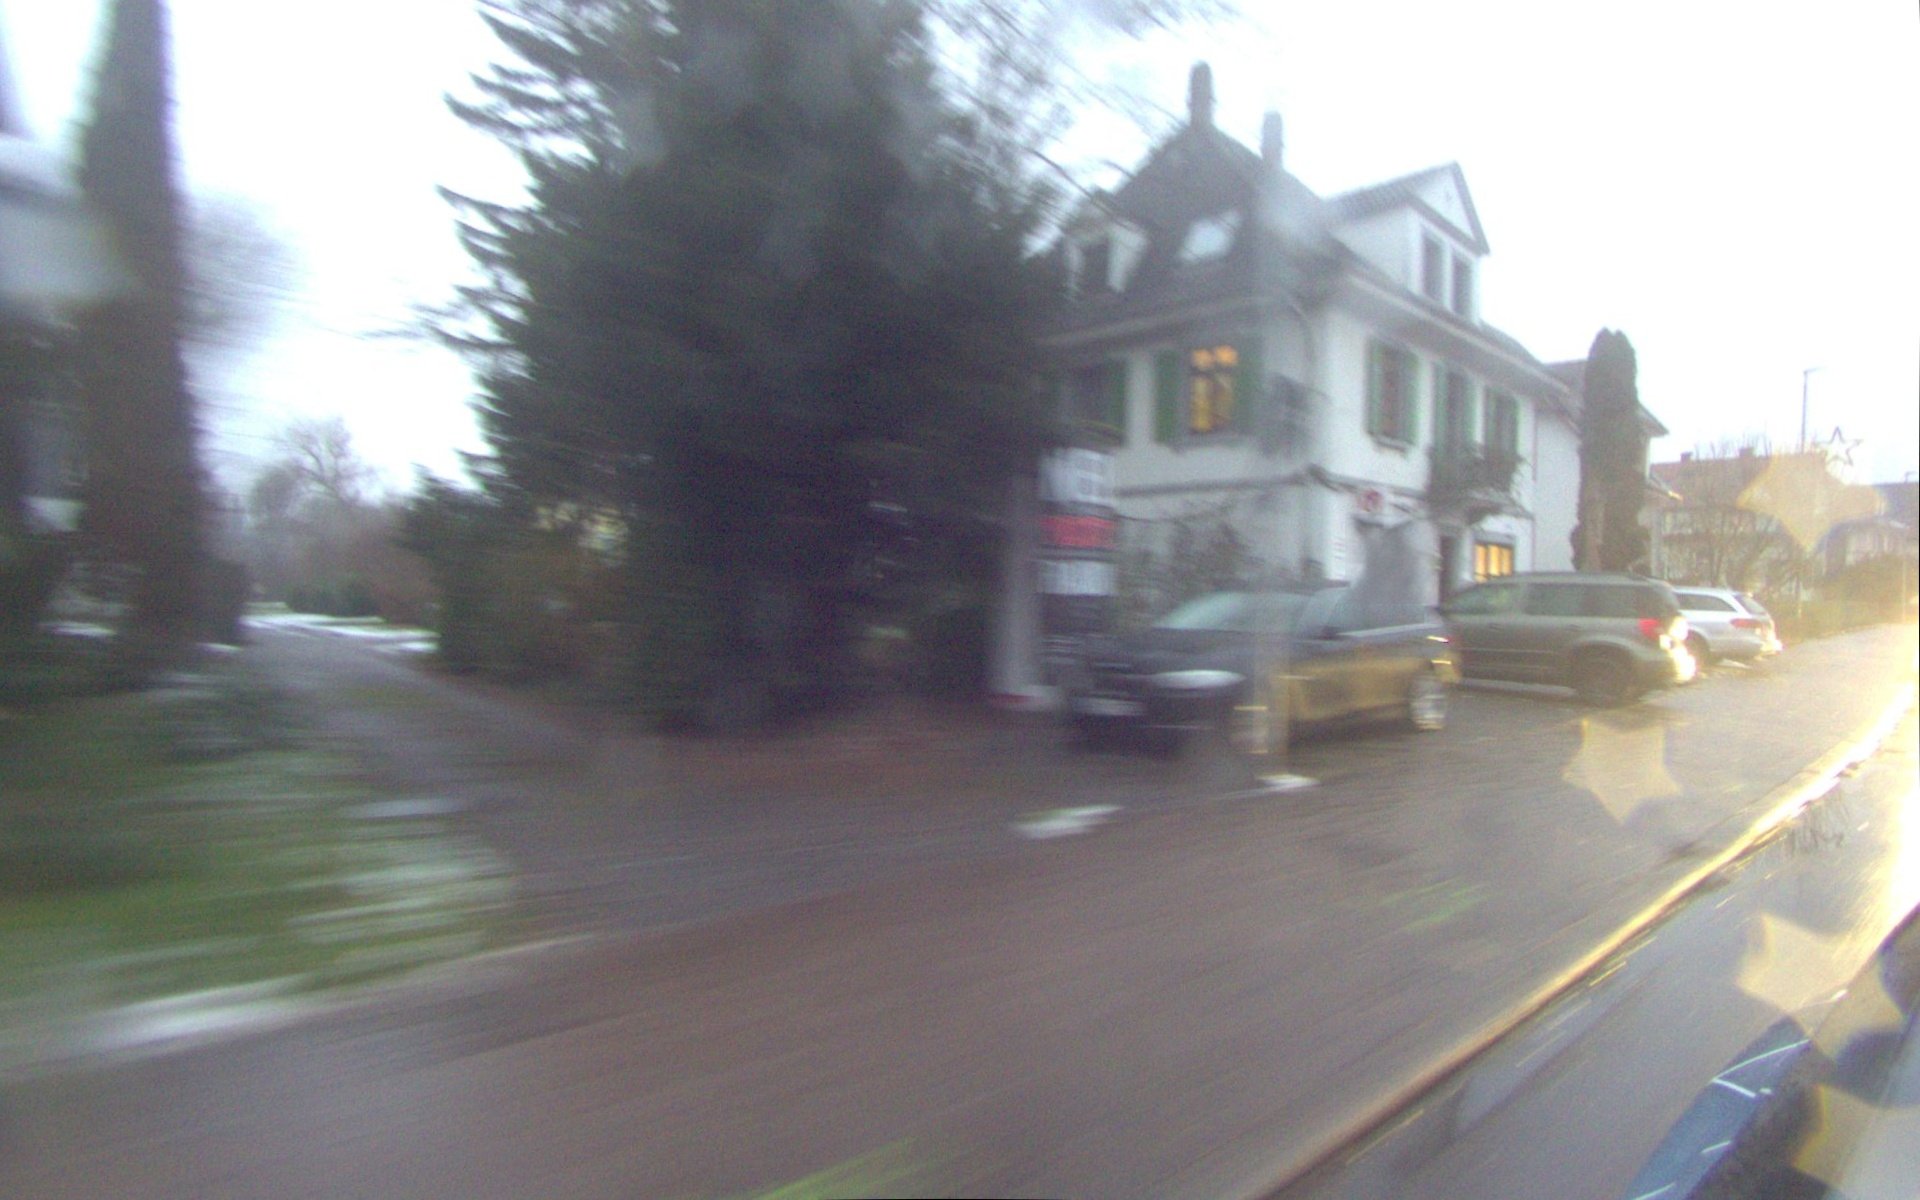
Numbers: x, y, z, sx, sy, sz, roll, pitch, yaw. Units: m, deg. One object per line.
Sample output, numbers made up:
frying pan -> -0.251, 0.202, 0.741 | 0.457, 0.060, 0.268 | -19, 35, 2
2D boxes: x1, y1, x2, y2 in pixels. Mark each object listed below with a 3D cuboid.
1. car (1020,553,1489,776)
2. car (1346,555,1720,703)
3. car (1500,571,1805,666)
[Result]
car -> 2.903, 0.423, 9.375 | 4.671, 1.574, 1.897 | 0, 1, -40
car -> 7.734, 0.291, 13.926 | 1.967, 1.727, 4.106 | -2, 2, -43
car -> 13.767, 0.269, 20.392 | 1.873, 1.650, 4.744 | 0, 2, -40
